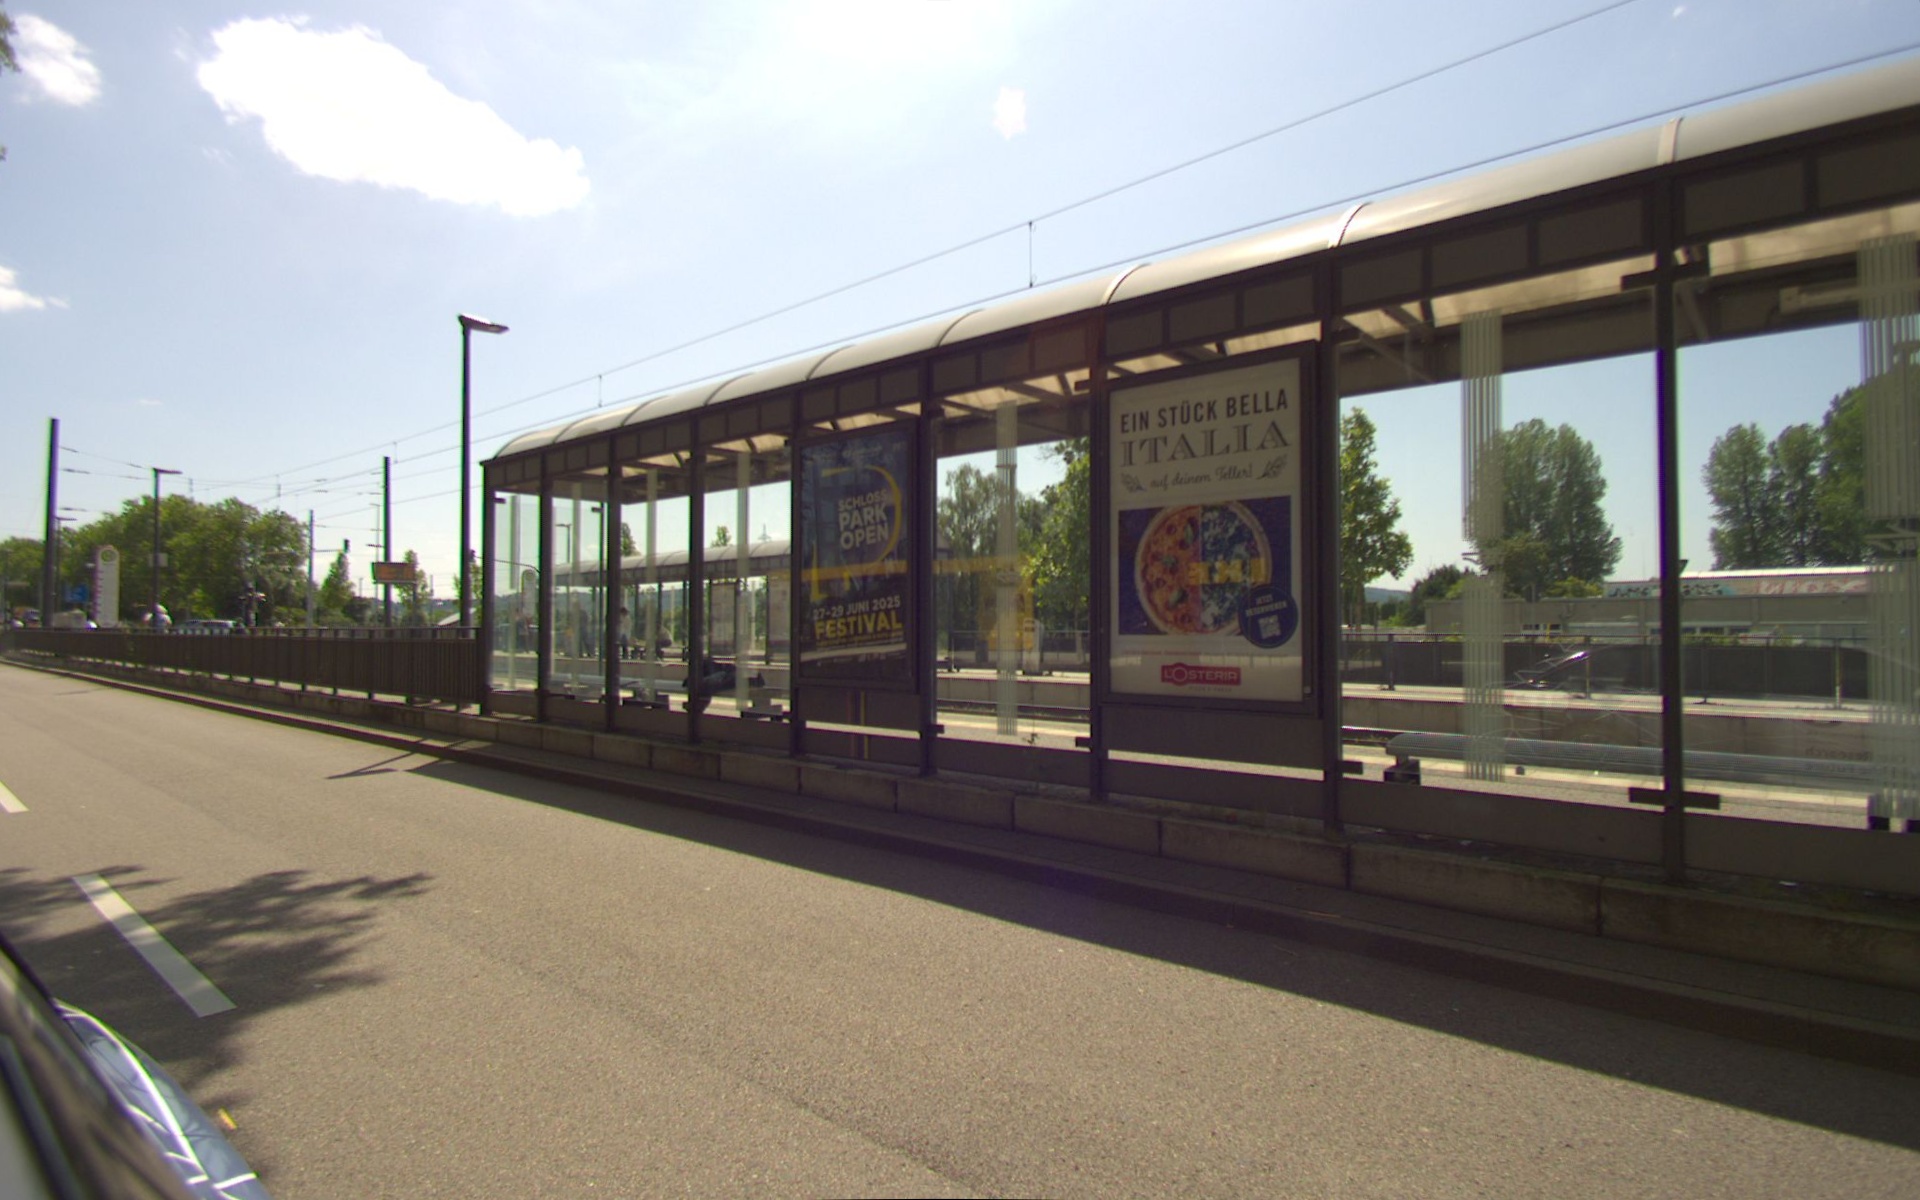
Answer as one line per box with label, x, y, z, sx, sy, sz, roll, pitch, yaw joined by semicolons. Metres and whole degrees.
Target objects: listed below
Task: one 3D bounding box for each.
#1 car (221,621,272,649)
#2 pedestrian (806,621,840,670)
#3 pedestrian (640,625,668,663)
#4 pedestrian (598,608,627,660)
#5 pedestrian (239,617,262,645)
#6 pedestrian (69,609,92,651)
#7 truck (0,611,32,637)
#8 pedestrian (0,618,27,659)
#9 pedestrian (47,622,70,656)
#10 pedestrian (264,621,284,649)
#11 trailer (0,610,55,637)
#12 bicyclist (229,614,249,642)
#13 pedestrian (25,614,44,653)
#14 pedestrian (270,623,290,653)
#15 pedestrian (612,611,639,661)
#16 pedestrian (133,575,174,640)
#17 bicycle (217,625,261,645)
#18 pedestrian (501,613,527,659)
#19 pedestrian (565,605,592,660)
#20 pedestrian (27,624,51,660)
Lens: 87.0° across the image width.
car;-46.579;2.261;66.040;4.000;1.641;1.972;-1;0;43
pedestrian;-3.412;1.127;25.264;0.639;1.199;0.570;-2;-2;42
pedestrian;-9.152;1.317;30.246;0.639;1.103;0.570;-2;-2;42
pedestrian;-11.029;1.077;32.137;0.814;1.651;0.579;0;-2;-11
pedestrian;-40.837;1.792;58.249;0.763;1.622;0.947;-2;-2;39
pedestrian;-36.560;1.242;42.058;0.719;1.694;0.607;-2;-1;40
truck;-149.814;3.789;159.988;7.459;4.069;3.098;-2;-1;36
pedestrian;-42.970;1.751;45.888;0.882;1.816;0.854;-2;-1;38
pedestrian;-36.891;1.577;41.400;0.719;1.355;0.607;-2;-1;40
pedestrian;-39.467;2.017;58.230;0.763;1.560;0.754;-2;-2;39
trailer;-143.011;3.643;154.994;15.444;3.900;3.088;-1;-2;35
bicyclist;-41.945;1.627;58.896;0.729;1.627;0.660;-1;-1;26
pedestrian;-37.939;1.379;41.501;0.556;1.590;0.492;-2;-2;40
pedestrian;-38.573;2.170;57.420;0.763;1.685;0.754;-2;-2;39
pedestrian;-10.453;1.122;31.622;0.639;1.545;0.570;-2;-2;42
pedestrian;-21.416;0.204;26.880;0.742;1.678;0.725;-2;-2;41
bicycle;-41.959;2.025;58.897;0.760;1.109;1.960;-1;-1;26
pedestrian;-16.109;1.300;36.548;0.804;1.650;0.552;-2;-2;35
pedestrian;-12.357;1.053;32.814;0.726;1.742;0.579;0;-2;-11
pedestrian;-44.176;2.013;48.525;0.678;1.685;0.725;-2;-2;39
